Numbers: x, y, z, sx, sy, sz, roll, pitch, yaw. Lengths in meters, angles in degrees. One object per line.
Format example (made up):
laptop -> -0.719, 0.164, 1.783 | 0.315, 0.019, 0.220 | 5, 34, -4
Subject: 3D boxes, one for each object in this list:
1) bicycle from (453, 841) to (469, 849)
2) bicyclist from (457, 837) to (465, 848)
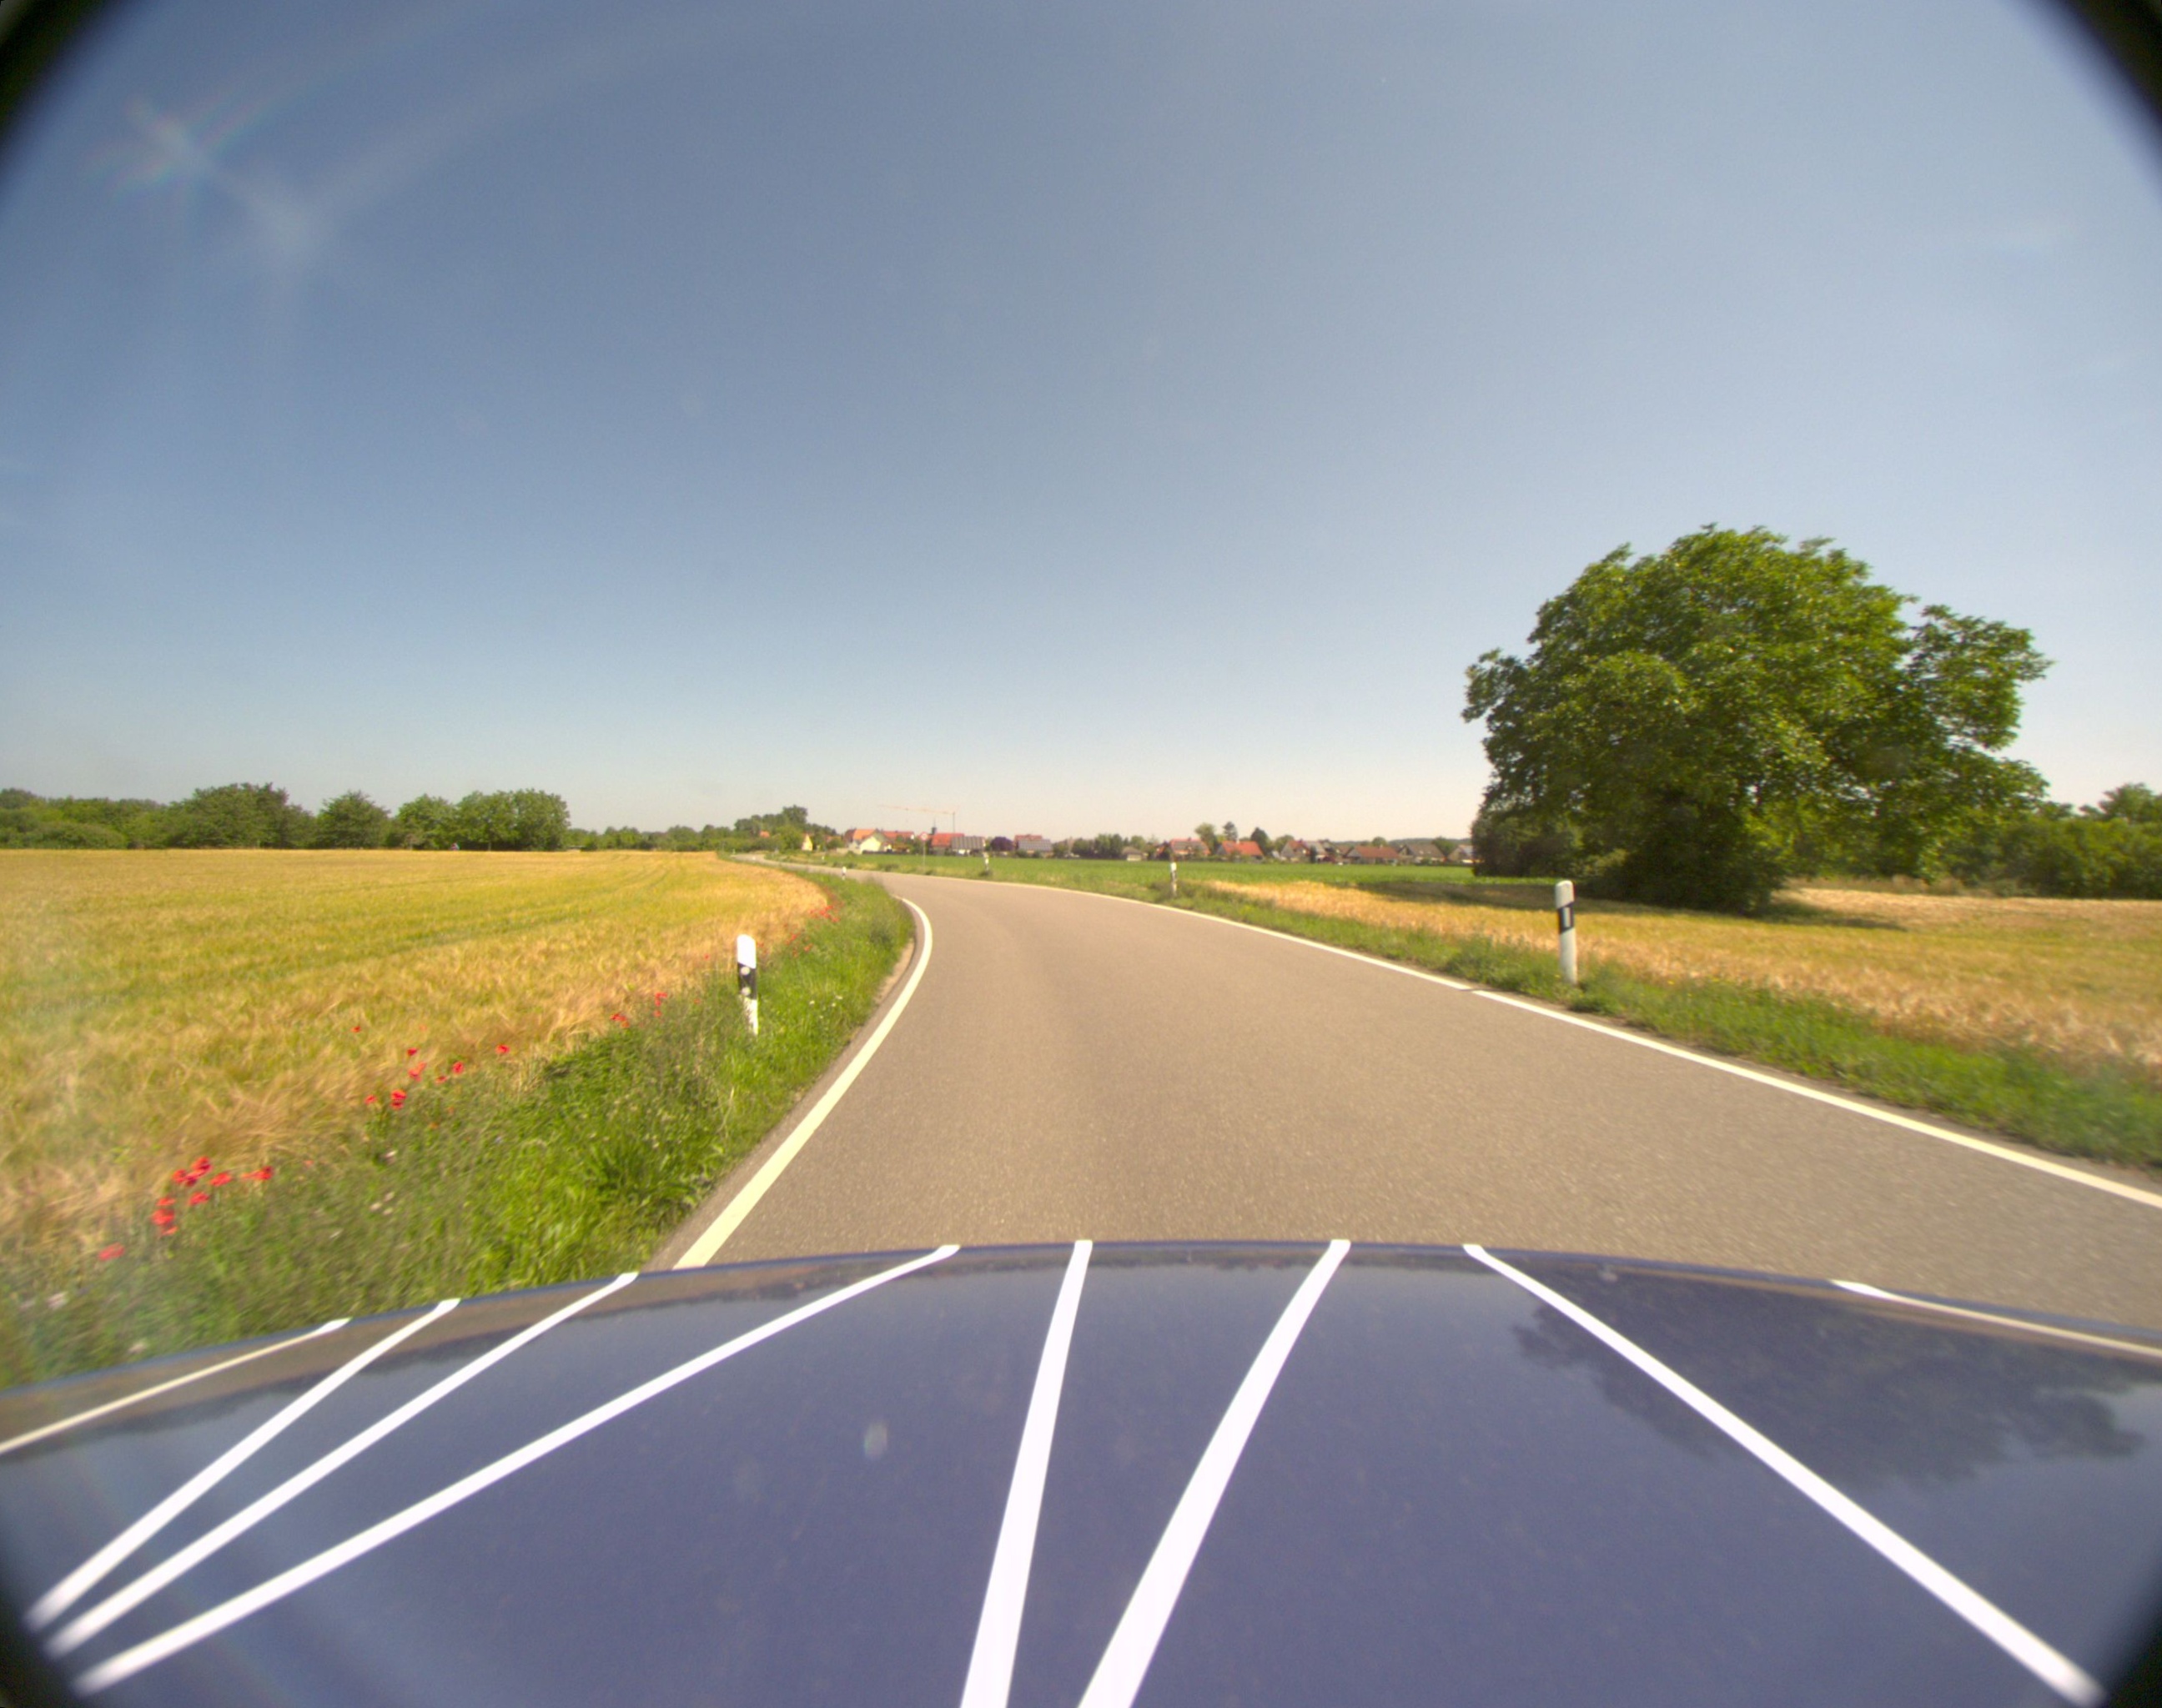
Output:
bicycle -> -90.333, -1.350, 110.658 | 0.520, 1.109, 1.772 | 2, 1, 28
bicyclist -> -90.324, -1.730, 110.652 | 0.673, 1.565, 0.737 | 2, 1, 28
